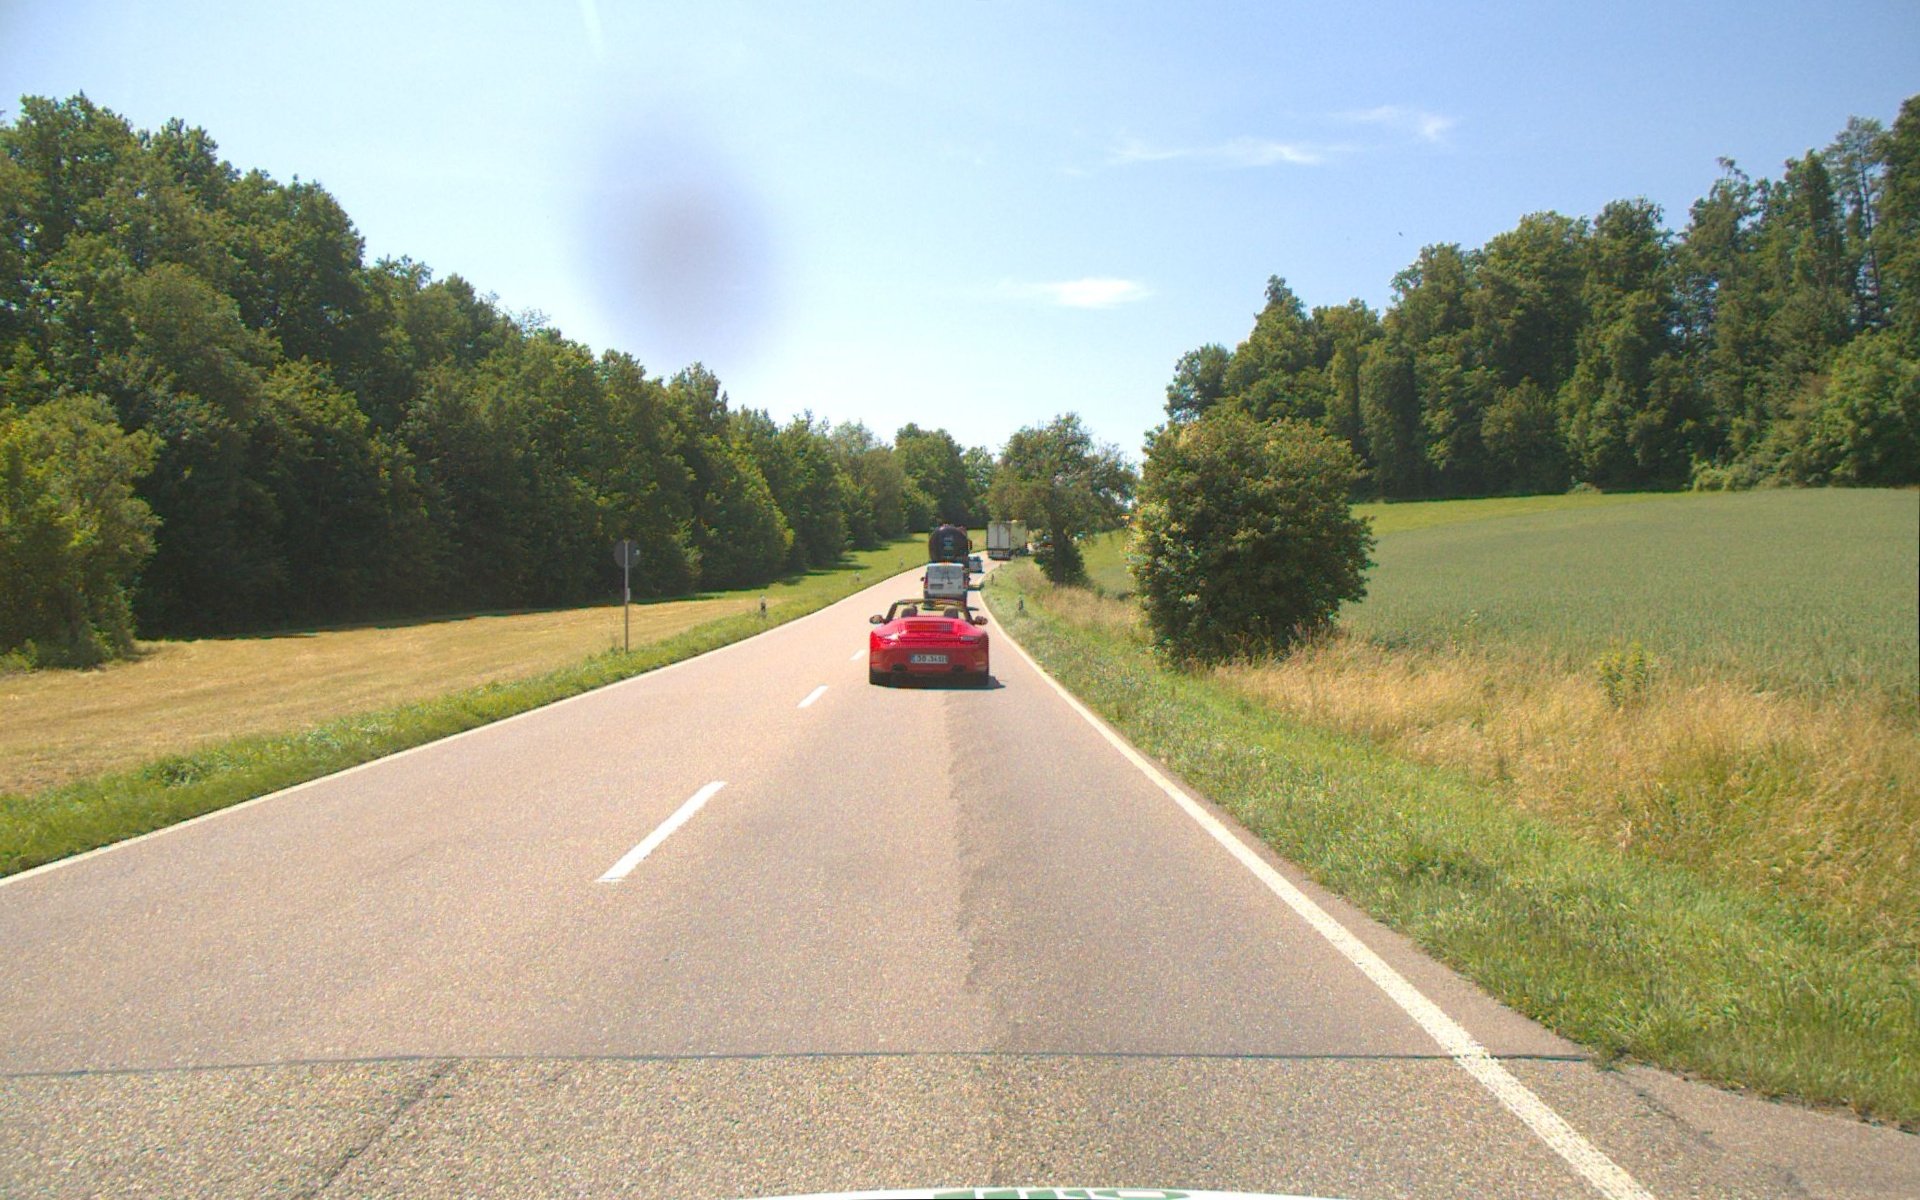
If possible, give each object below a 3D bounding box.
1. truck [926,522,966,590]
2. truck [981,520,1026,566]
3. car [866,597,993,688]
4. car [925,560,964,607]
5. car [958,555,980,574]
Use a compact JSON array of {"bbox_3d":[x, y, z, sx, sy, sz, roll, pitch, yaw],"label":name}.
[{"bbox_3d":[-0.967,-2.860,107.092,2.355,4.120,12.548,-1,1,-1],"label":"truck"},{"bbox_3d":[4.922,-6.435,183.973,3.646,4.740,12.045,0,4,8],"label":"truck"},{"bbox_3d":[-0.470,0.616,26.122,1.844,1.277,4.009,1,1,-1],"label":"car"},{"bbox_3d":[-0.669,-0.712,70.621,1.644,1.934,4.009,0,1,-1],"label":"car"},{"bbox_3d":[0.835,-3.189,147.980,1.793,1.539,4.193,-2,3,2],"label":"car"}]
